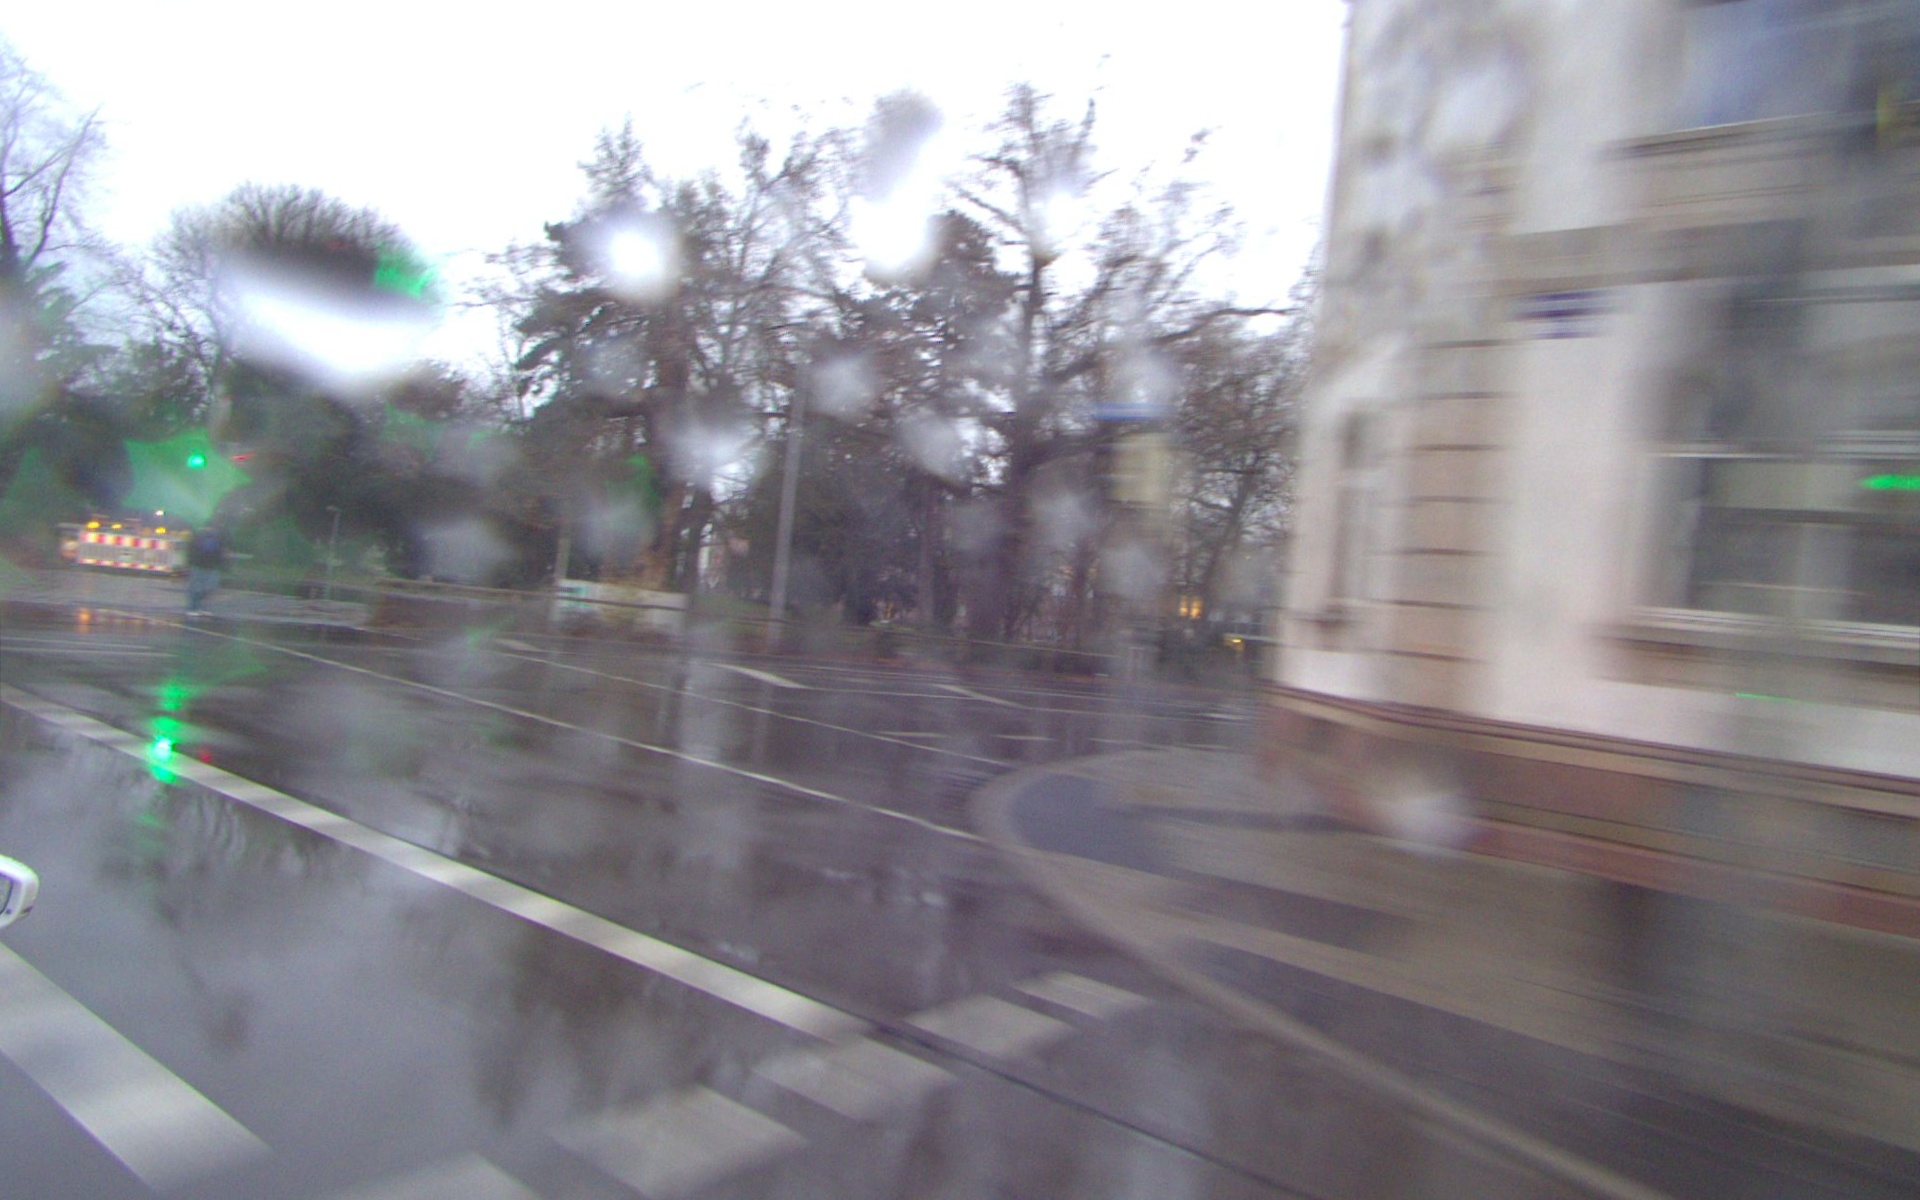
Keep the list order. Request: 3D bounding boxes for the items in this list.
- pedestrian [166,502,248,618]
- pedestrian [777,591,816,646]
[{"bbox_3d":[-13.225,-0.697,17.675,0.662,1.901,0.715,6,-1,20],"label":"pedestrian"},{"bbox_3d":[-5.275,0.598,32.435,0.835,1.659,0.727,7,-1,12],"label":"pedestrian"}]
